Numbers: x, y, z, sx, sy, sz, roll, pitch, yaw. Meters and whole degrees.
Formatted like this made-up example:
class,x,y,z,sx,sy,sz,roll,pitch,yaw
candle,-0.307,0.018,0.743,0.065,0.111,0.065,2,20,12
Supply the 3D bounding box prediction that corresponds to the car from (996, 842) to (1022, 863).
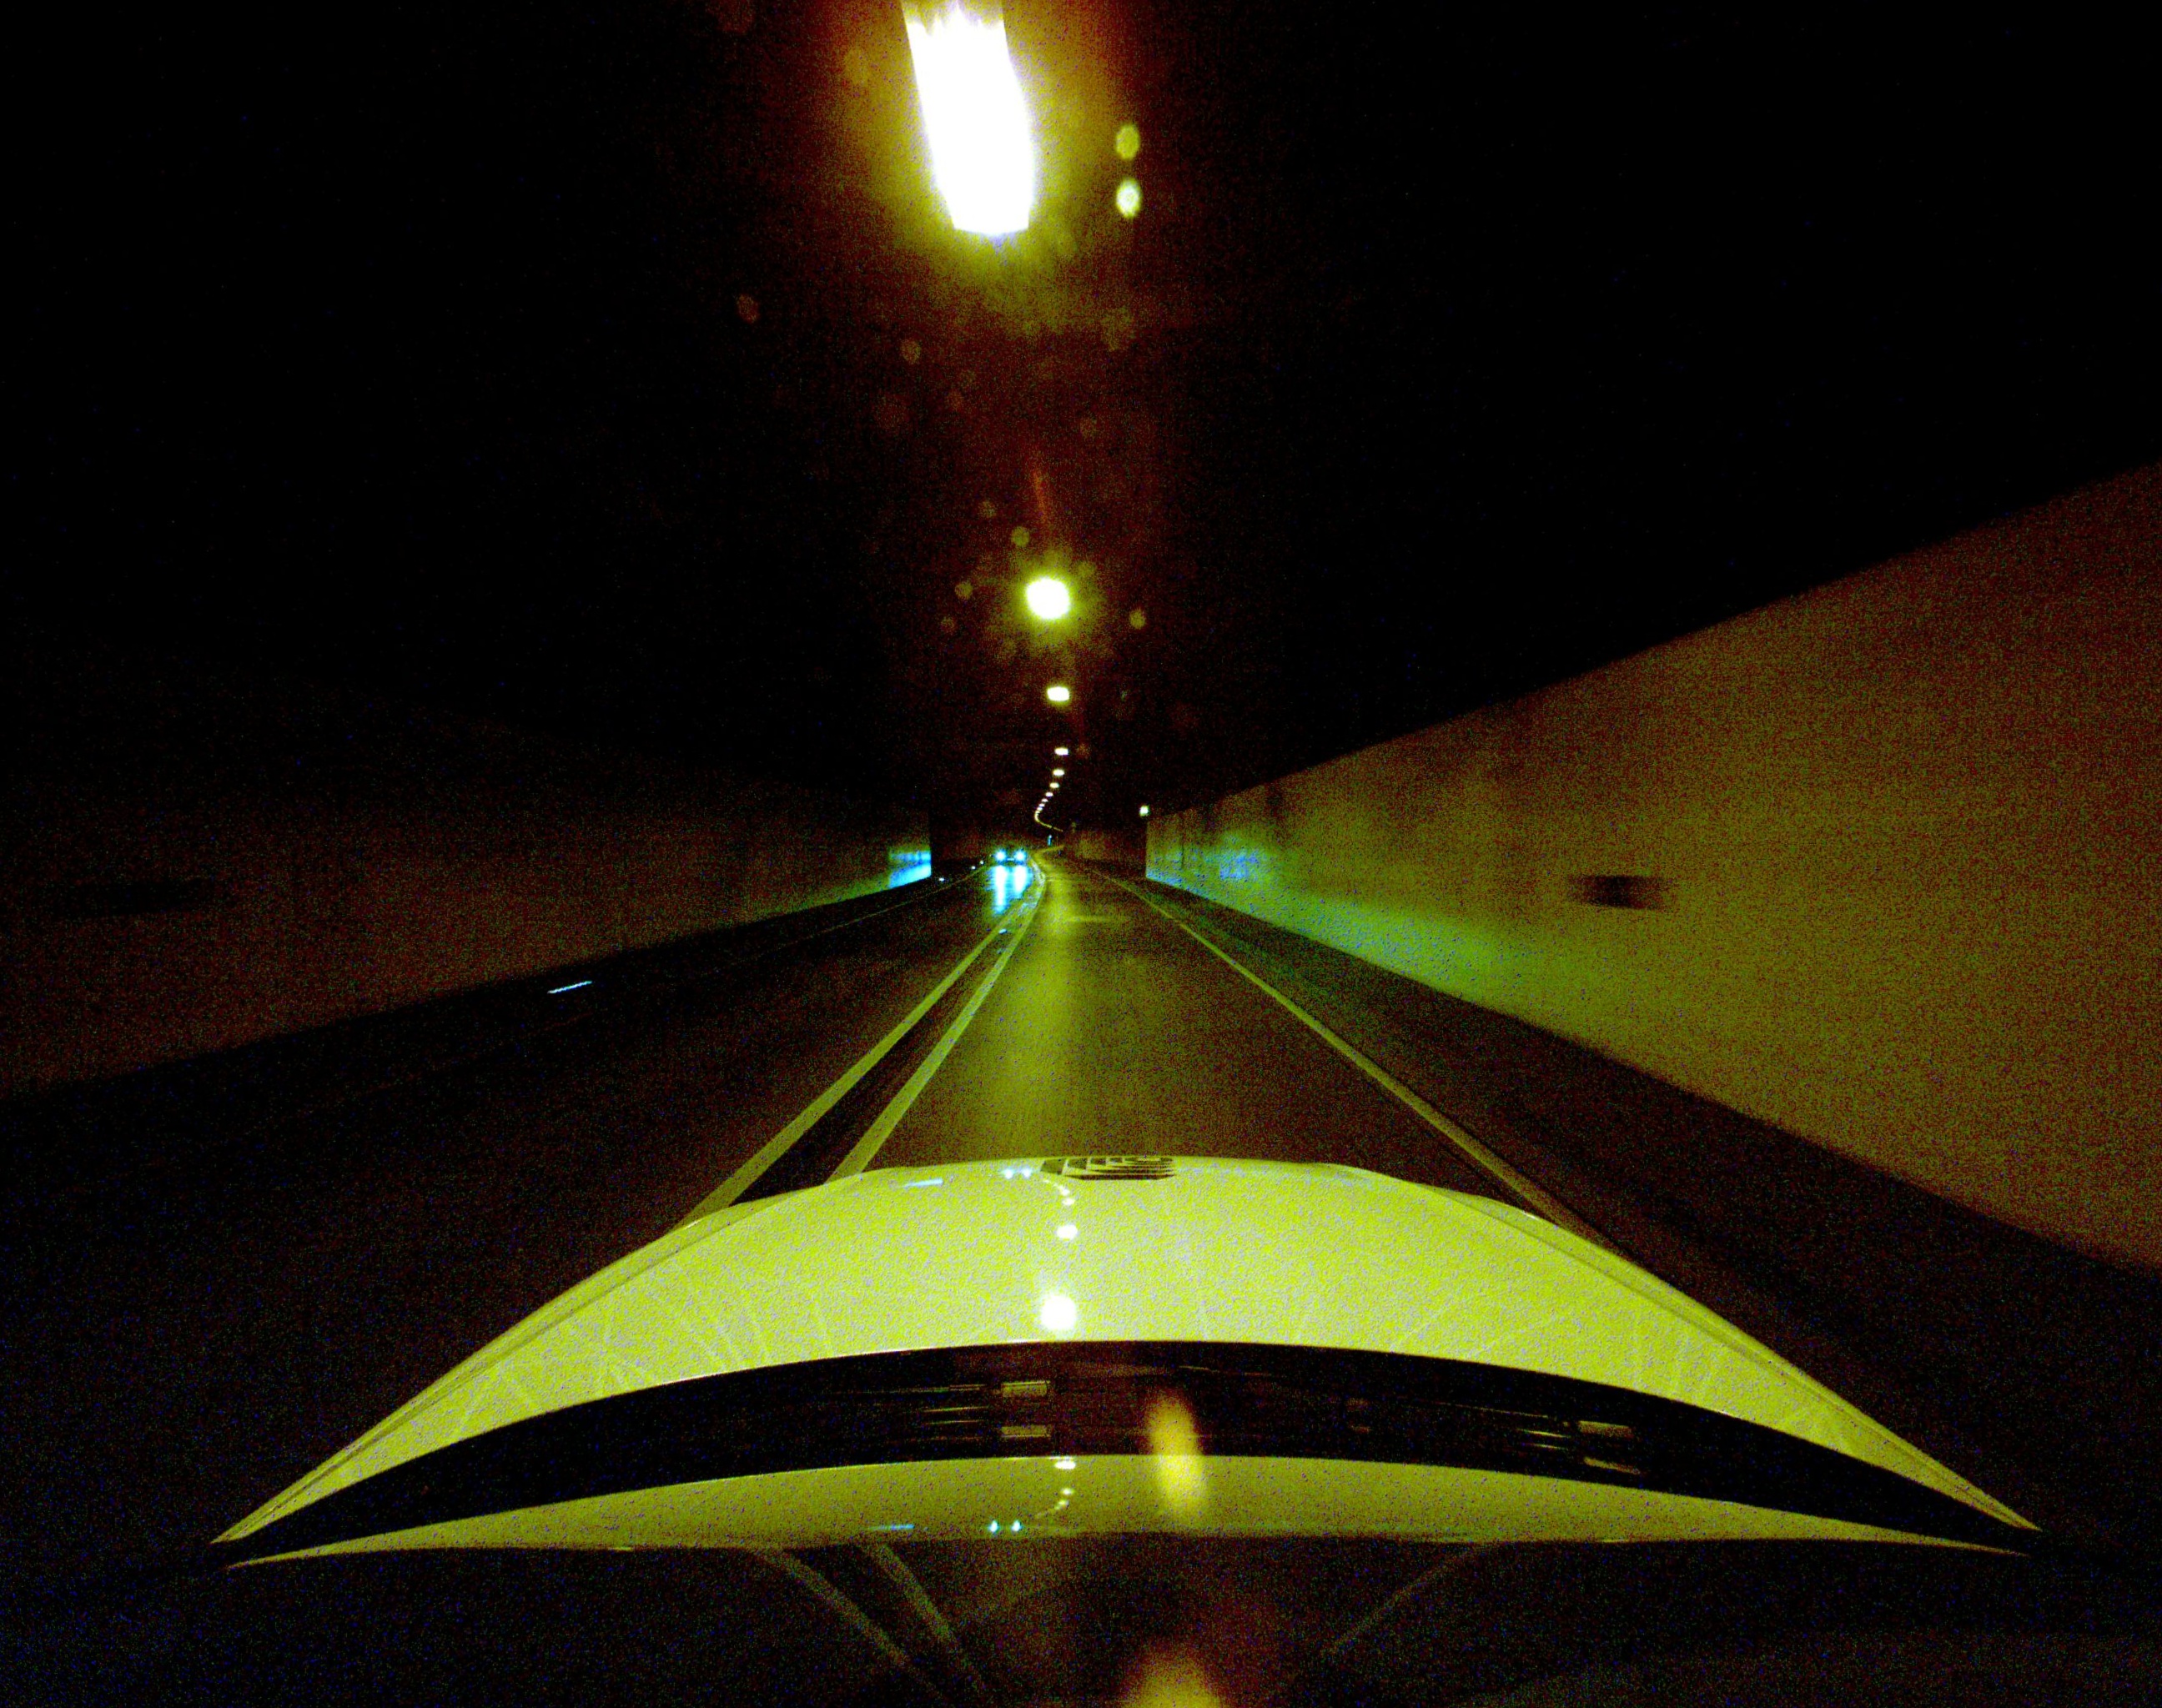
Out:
class,x,y,z,sx,sy,sz,roll,pitch,yaw
car,-5.221,-0.172,59.699,1.703,1.415,4.114,-1,2,-3
